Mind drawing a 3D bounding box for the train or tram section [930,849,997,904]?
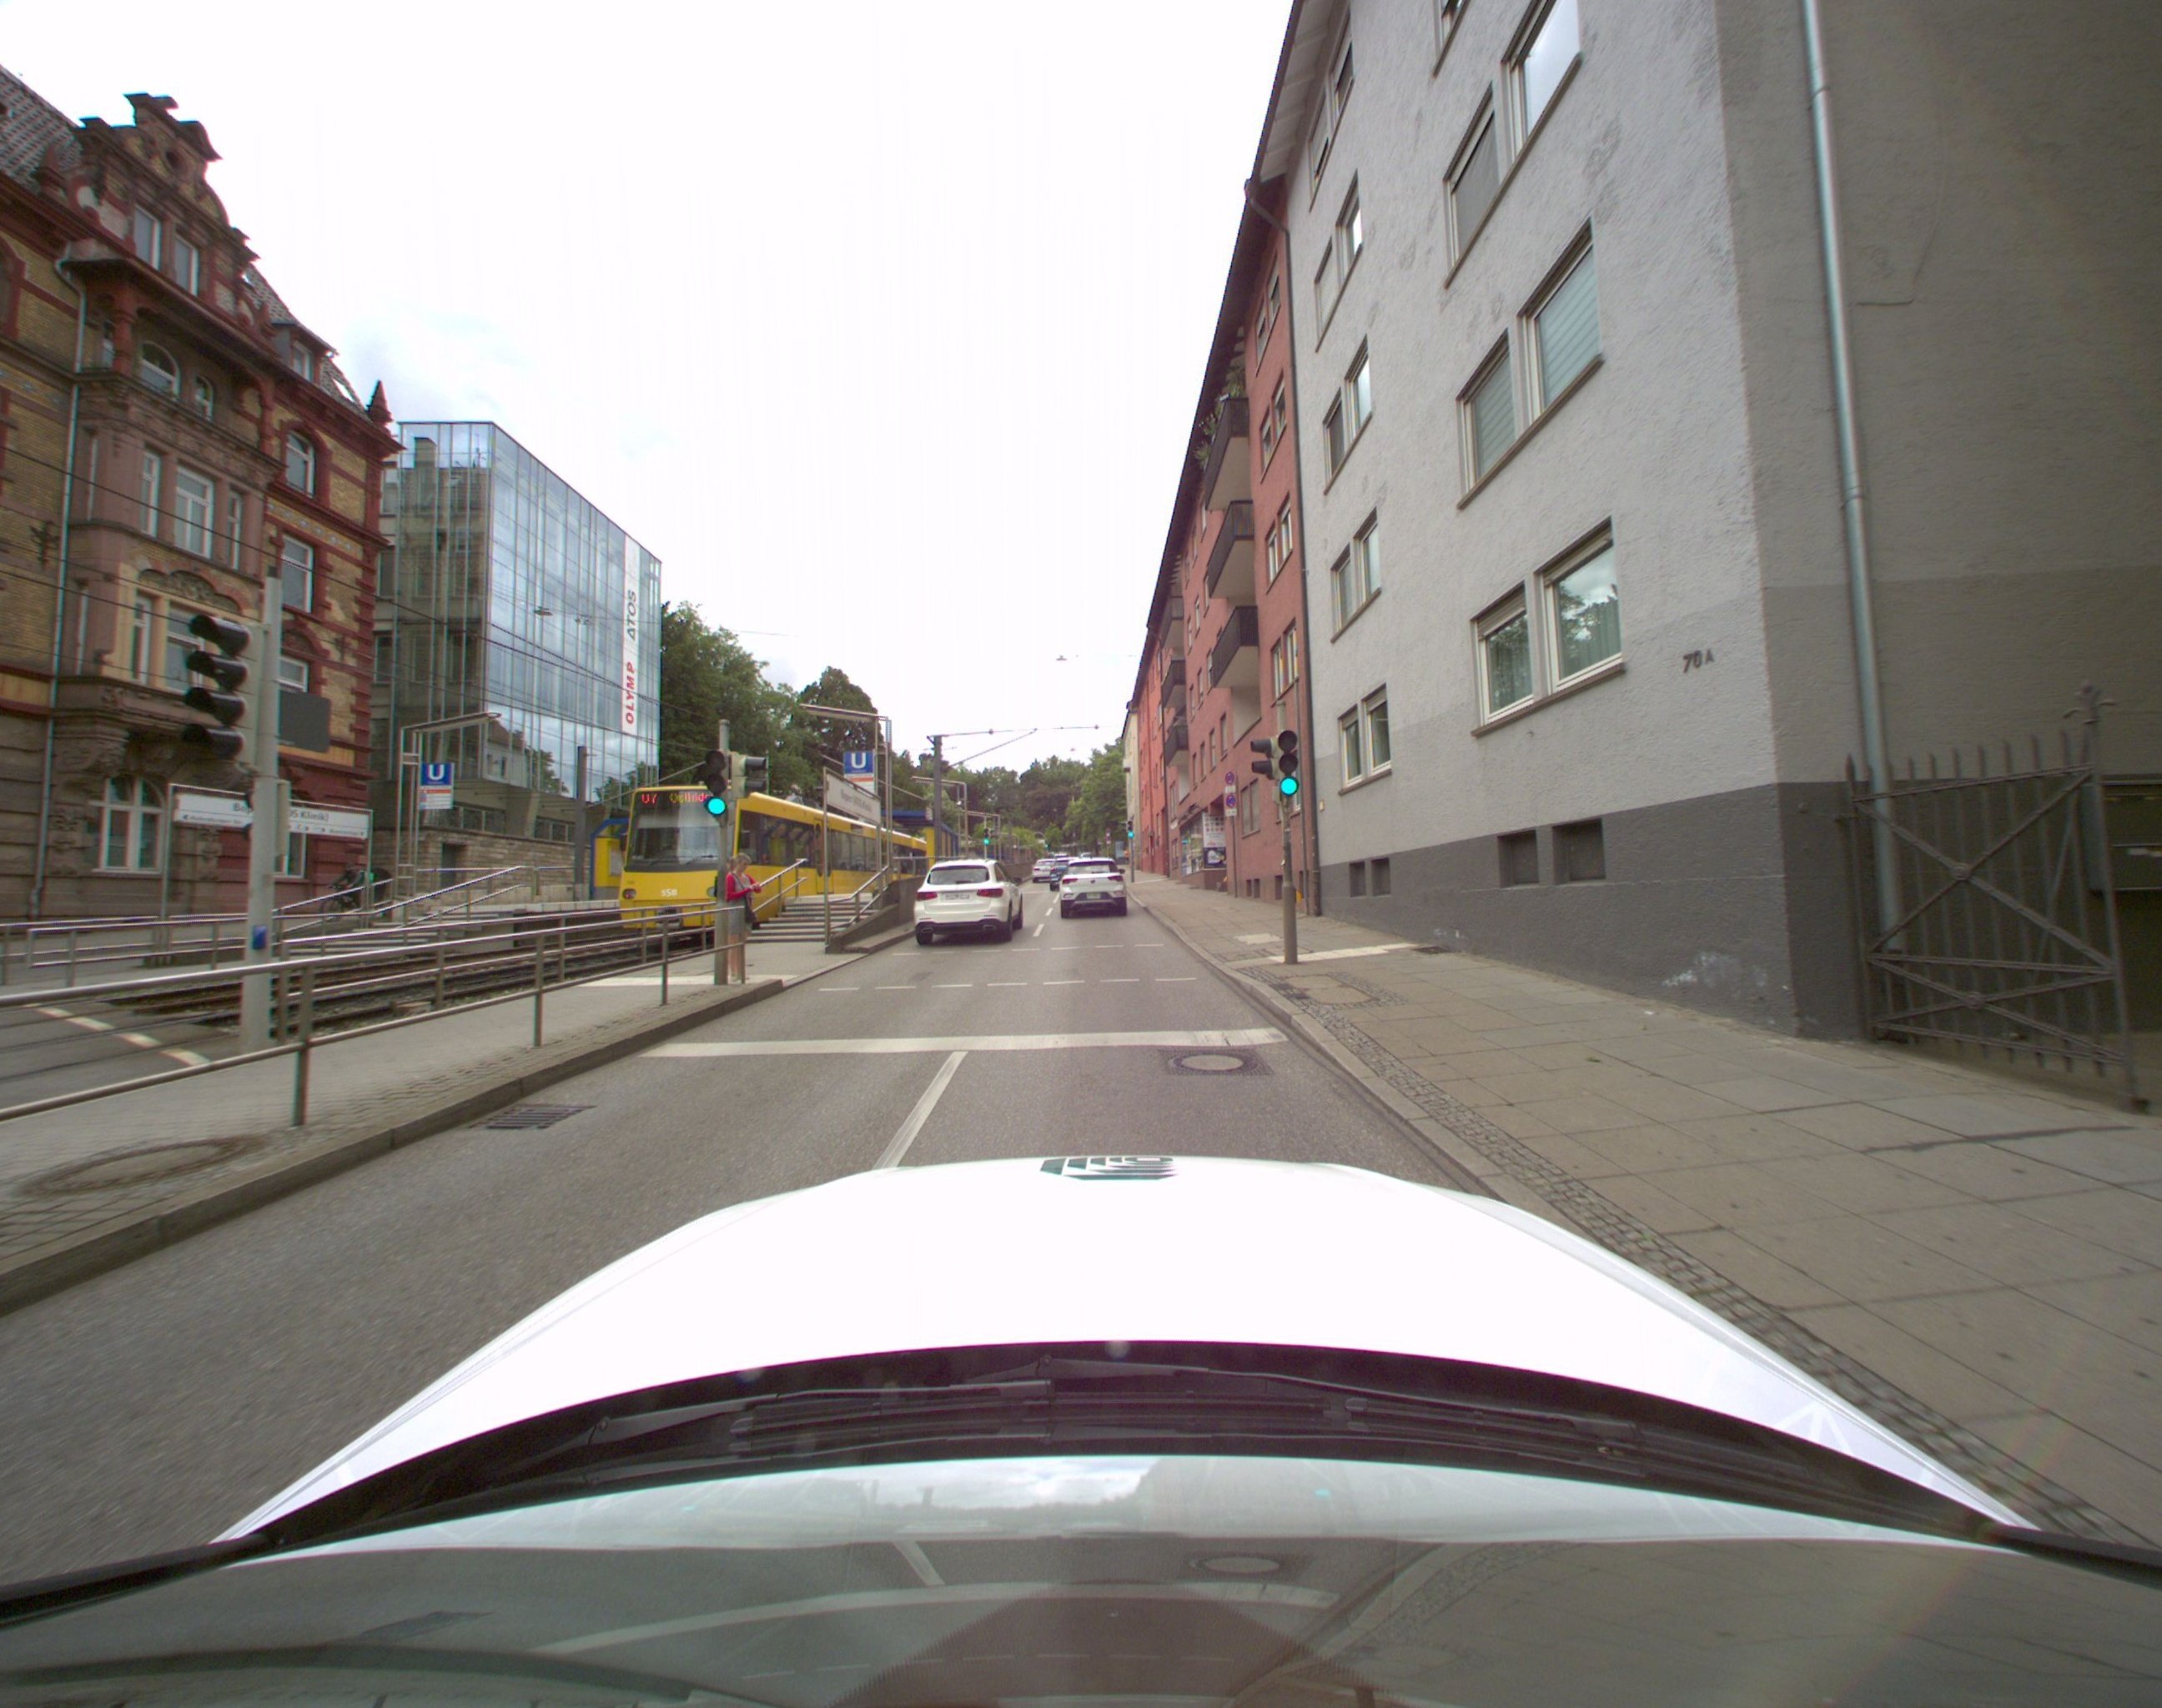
[{"bbox_3d":[-8.358,1.629,59.912,2.940,3.509,12.981,-2,-1,0],"label":"train or tram section"}]

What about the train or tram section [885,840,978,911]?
[{"bbox_3d":[-8.360,1.280,47.336,2.939,3.484,12.216,-2,-2,0],"label":"train or tram section"}]

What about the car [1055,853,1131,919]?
[{"bbox_3d":[0.366,0.814,22.668,1.858,1.556,3.896,-3,0,1],"label":"car"}]

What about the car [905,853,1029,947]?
[{"bbox_3d":[-2.253,0.847,17.256,1.870,1.652,4.343,-2,0,1],"label":"car"}]

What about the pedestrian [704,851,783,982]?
[{"bbox_3d":[-4.465,0.802,10.819,0.674,1.680,0.687,-1,0,9],"label":"pedestrian"}]

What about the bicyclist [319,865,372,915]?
[{"bbox_3d":[-22.094,1.061,24.475,0.767,1.428,0.905,-1,0,-4],"label":"bicyclist"}]

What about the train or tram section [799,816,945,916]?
[{"bbox_3d":[-8.454,0.749,35.060,2.939,3.472,12.215,-2,-3,0],"label":"train or tram section"}]

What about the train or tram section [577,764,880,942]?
[{"bbox_3d":[-8.694,0.213,22.731,2.939,3.544,12.395,-2,-2,0],"label":"train or tram section"}]

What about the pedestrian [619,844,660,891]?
[{"bbox_3d":[-15.470,0.470,28.547,0.972,1.595,0.765,-1,0,0],"label":"pedestrian"}]

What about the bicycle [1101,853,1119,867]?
[{"bbox_3d":[2.694,0.576,76.600,0.642,1.143,2.048,-10,3,-25],"label":"bicycle"}]

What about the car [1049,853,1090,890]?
[{"bbox_3d":[-0.507,0.787,39.586,1.854,1.632,3.959,-2,0,0],"label":"car"}]

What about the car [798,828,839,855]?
[{"bbox_3d":[-20.398,-0.938,63.435,1.988,2.014,3.997,0,-1,-2],"label":"car"}]

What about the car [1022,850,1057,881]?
[{"bbox_3d":[-2.628,0.729,52.270,1.987,1.881,3.999,-1,0,0],"label":"car"}]

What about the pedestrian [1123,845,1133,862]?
[{"bbox_3d":[4.823,-0.023,83.645,0.834,1.712,0.818,-3,0,-14],"label":"pedestrian"}]

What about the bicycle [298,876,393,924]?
[{"bbox_3d":[-22.099,1.352,24.554,0.772,1.284,2.422,-1,0,-4],"label":"bicycle"}]

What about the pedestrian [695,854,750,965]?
[{"bbox_3d":[-5.672,0.854,12.924,0.621,1.695,0.658,-1,0,-10],"label":"pedestrian"}]
